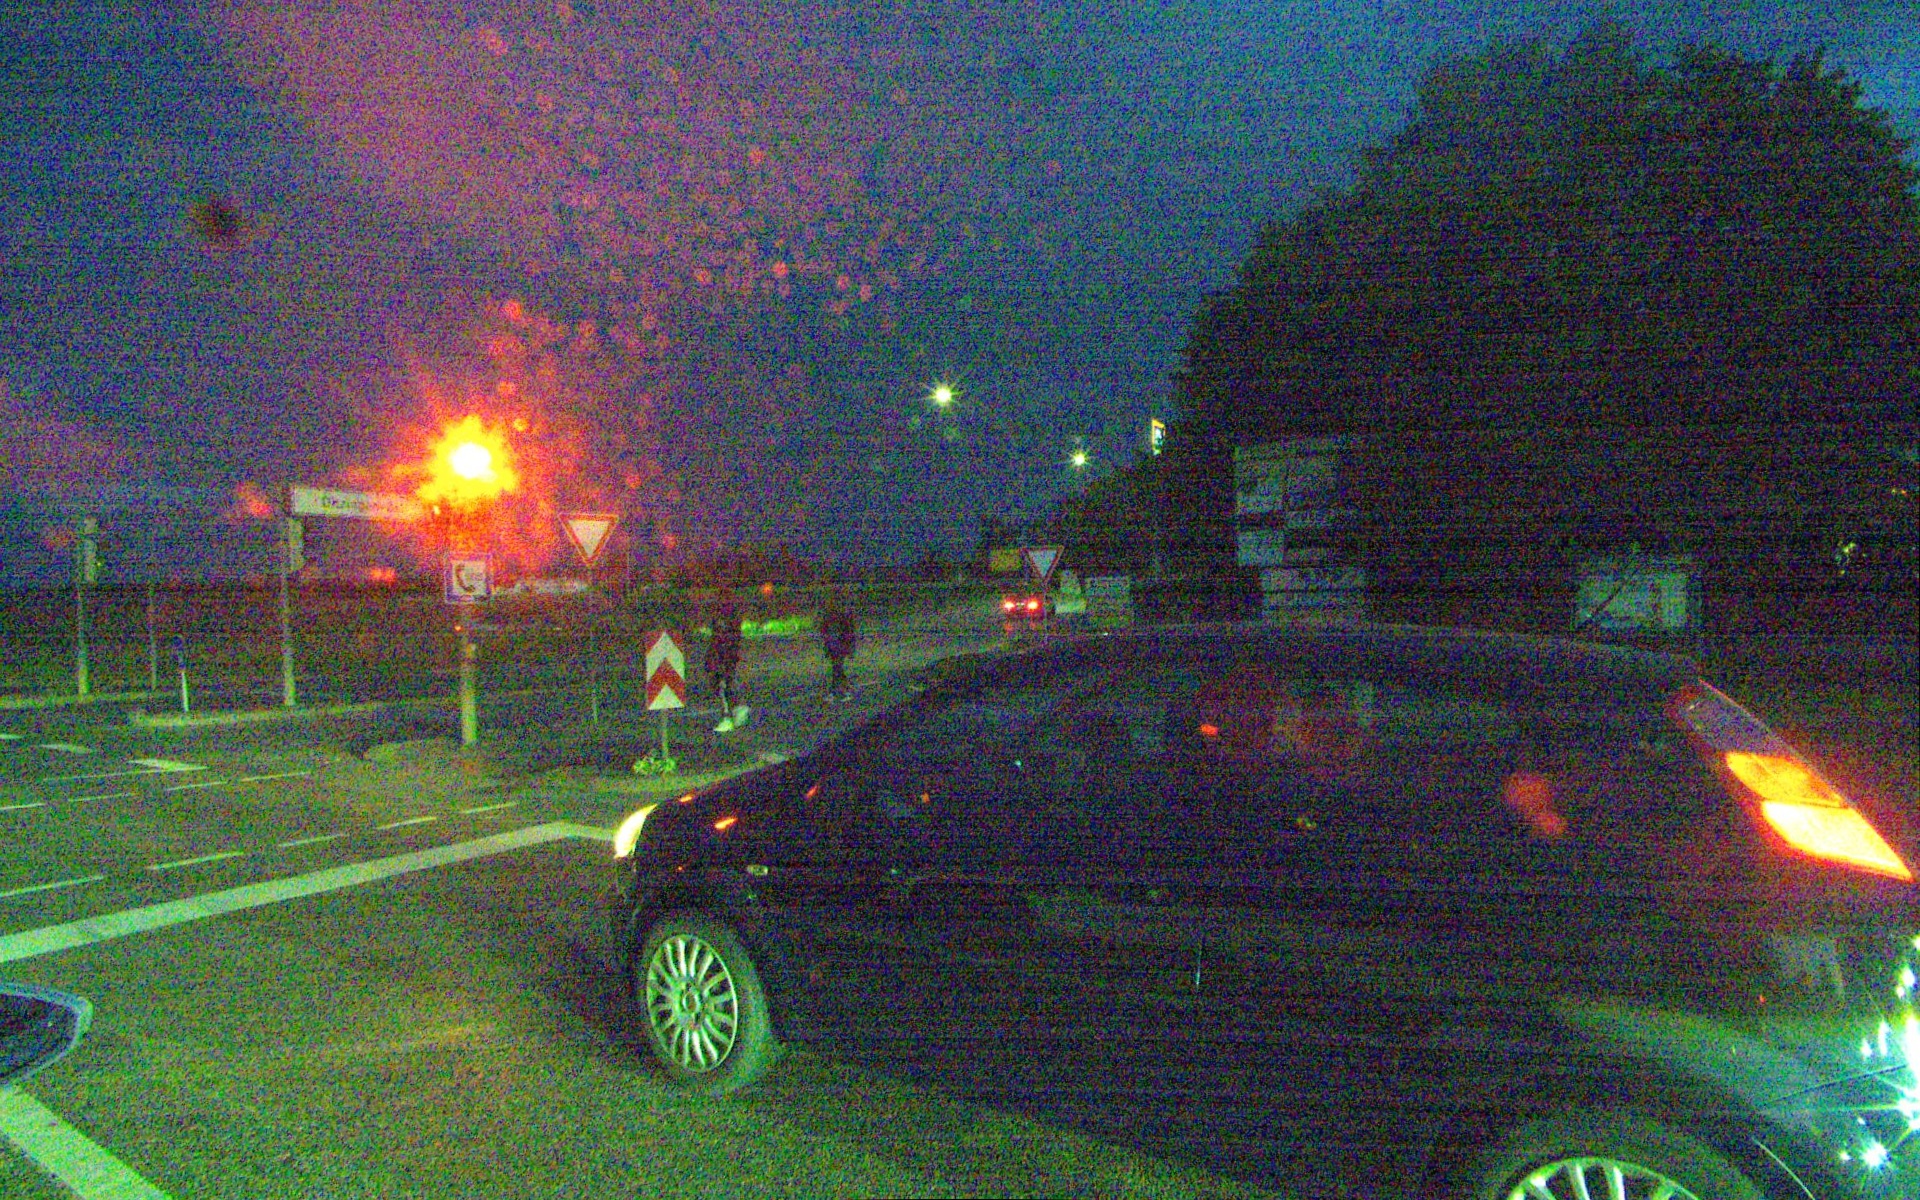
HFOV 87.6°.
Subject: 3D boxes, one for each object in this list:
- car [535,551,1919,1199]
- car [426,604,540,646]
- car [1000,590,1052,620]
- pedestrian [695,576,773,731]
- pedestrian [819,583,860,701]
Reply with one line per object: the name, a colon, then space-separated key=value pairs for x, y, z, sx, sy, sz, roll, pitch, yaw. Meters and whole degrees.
car: x=0.475 y=0.749 z=3.215 sx=3.663 sy=1.557 sz=1.655 roll=-1 pitch=-1 yaw=33
car: x=-20.994 y=1.071 z=44.284 sx=4.403 sy=1.686 sz=1.993 roll=-1 pitch=1 yaw=-23
car: x=3.450 y=0.266 z=51.675 sx=1.777 sy=1.461 sz=3.994 roll=-1 pitch=-1 yaw=18
pedestrian: x=-3.086 y=0.721 z=13.701 sx=0.704 sy=2.039 sz=0.776 roll=-1 pitch=-1 yaw=33
pedestrian: x=-2.124 y=0.742 z=17.715 sx=0.700 sy=2.039 sz=0.781 roll=0 pitch=-1 yaw=-6
